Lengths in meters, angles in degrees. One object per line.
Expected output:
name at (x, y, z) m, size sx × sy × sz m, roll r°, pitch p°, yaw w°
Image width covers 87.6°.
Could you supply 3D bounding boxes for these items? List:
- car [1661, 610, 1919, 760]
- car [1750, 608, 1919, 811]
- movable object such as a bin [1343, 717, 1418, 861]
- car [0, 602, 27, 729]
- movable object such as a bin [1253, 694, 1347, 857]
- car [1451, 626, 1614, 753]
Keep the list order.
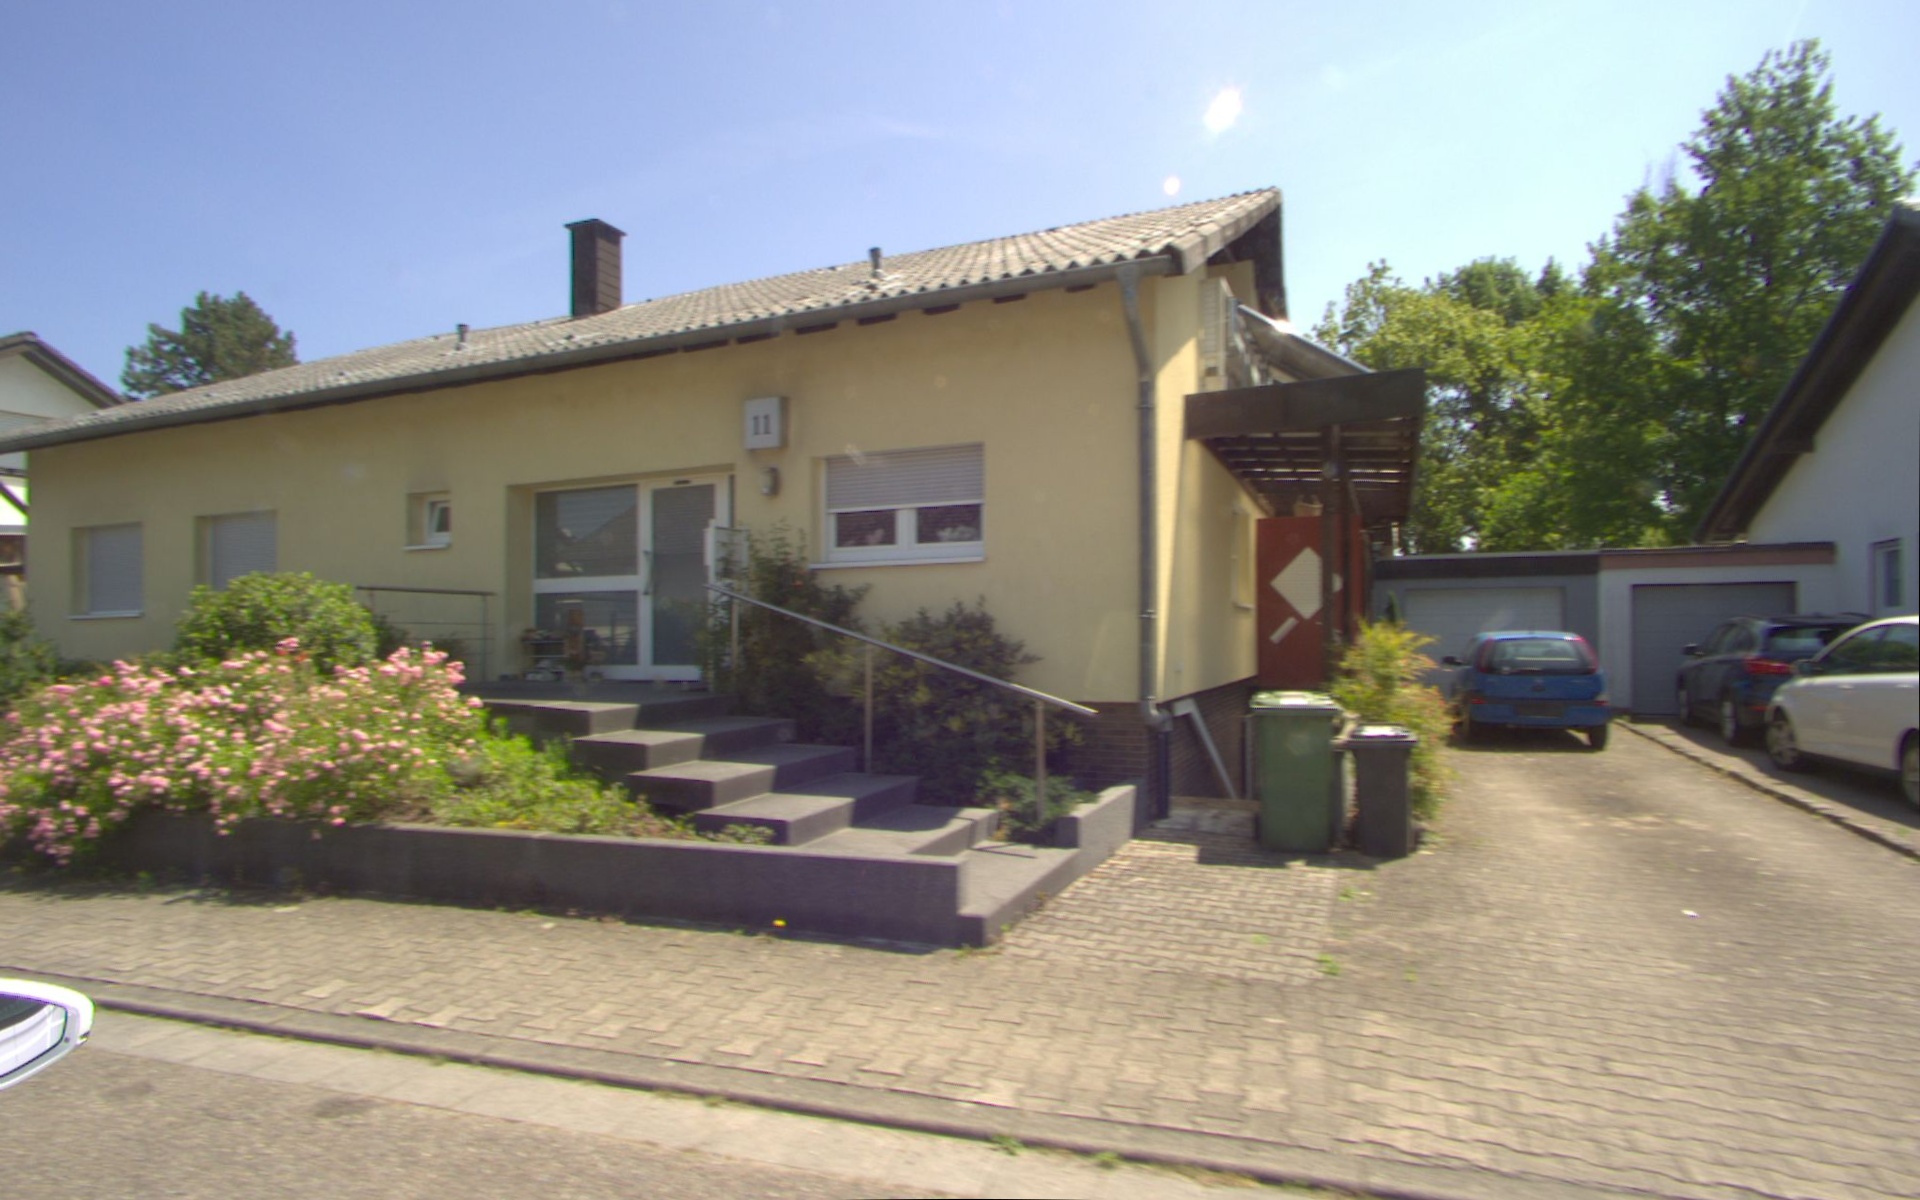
car at (10.686, 0.978, 12.929) m, size 1.897 × 1.628 × 3.989 m, roll -2°, pitch -2°, yaw 24°
car at (8.748, 0.882, 8.743) m, size 1.722 × 1.588 × 3.993 m, roll -1°, pitch -2°, yaw 20°
movable object such as a bin at (2.846, 1.262, 6.800) m, size 0.400 × 0.902 × 0.426 m, roll -1°, pitch -2°, yaw 16°
car at (-14.694, 0.896, 12.158) m, size 1.682 × 1.724 × 4.626 m, roll -1°, pitch 0°, yaw 26°
movable object such as a bin at (2.359, 1.197, 6.990) m, size 0.582 × 1.054 × 0.491 m, roll -1°, pitch -2°, yaw 16°
car at (7.757, 1.122, 13.826) m, size 1.593 × 1.474 × 3.245 m, roll 0°, pitch -1°, yaw 23°
